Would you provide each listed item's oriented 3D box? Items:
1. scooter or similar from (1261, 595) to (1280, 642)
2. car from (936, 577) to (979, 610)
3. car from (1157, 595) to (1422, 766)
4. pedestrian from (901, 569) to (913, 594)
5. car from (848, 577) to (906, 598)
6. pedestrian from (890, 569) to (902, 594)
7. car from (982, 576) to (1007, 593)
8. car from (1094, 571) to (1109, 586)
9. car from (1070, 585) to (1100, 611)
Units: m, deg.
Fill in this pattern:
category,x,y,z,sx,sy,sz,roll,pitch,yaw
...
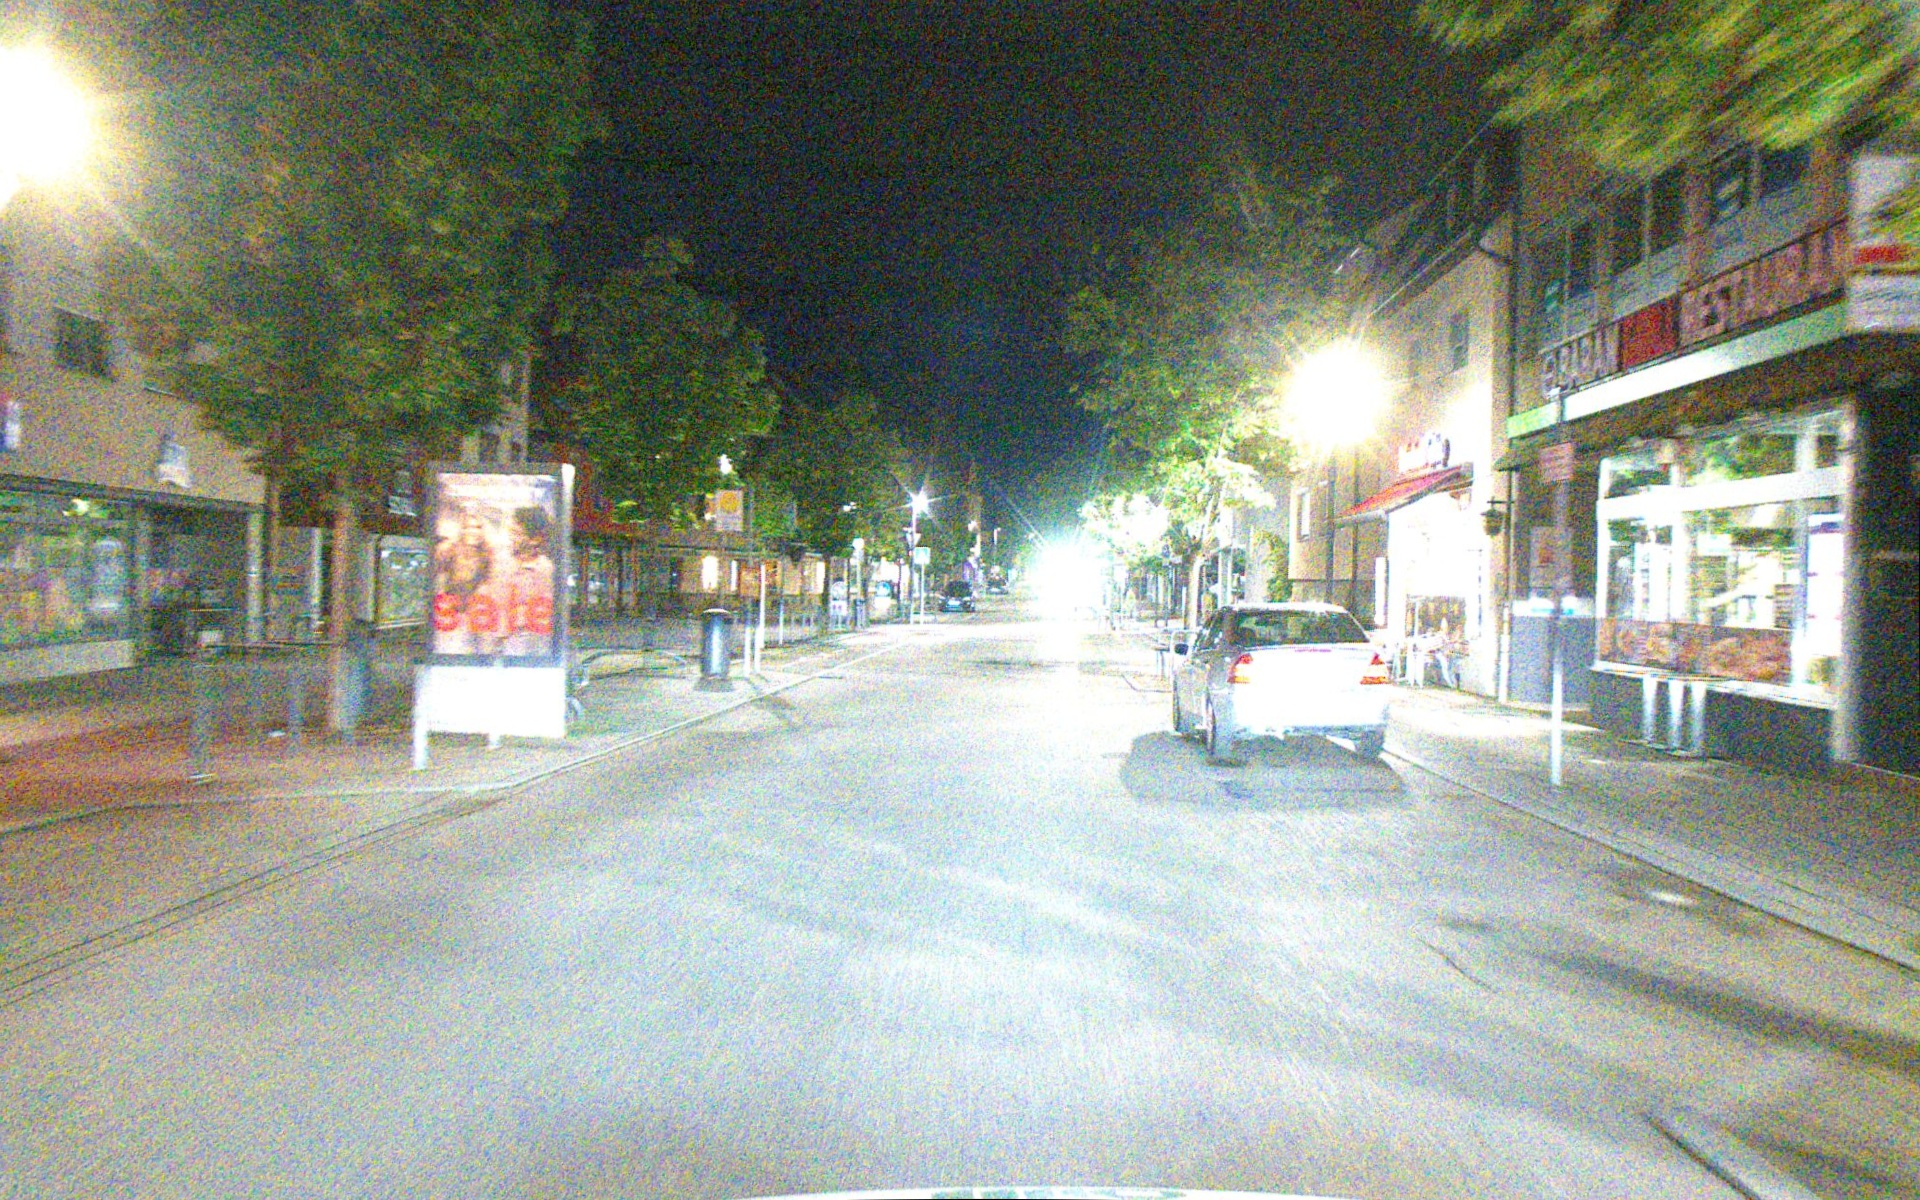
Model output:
category,x,y,z,sx,sy,sz,roll,pitch,yaw
scooter or similar,8.601,0.512,45.808,0.365,1.299,1.306,0,-1,4
car,-0.116,-0.398,94.599,1.975,1.720,5.006,2,1,4
car,3.194,0.707,16.923,1.699,1.466,4.495,0,1,-2
pedestrian,-3.601,-1.241,112.887,0.753,1.684,0.782,0,2,5
car,-6.268,-0.943,125.250,4.078,1.463,1.842,-2,0,7
pedestrian,-4.355,-1.245,112.978,0.753,1.684,0.817,0,2,5
car,3.089,-1.402,148.560,1.874,1.394,4.461,0,2,5
car,17.243,-2.620,201.263,1.738,1.681,4.367,0,1,5
car,7.503,-0.128,99.604,1.640,1.485,3.677,0,1,2
